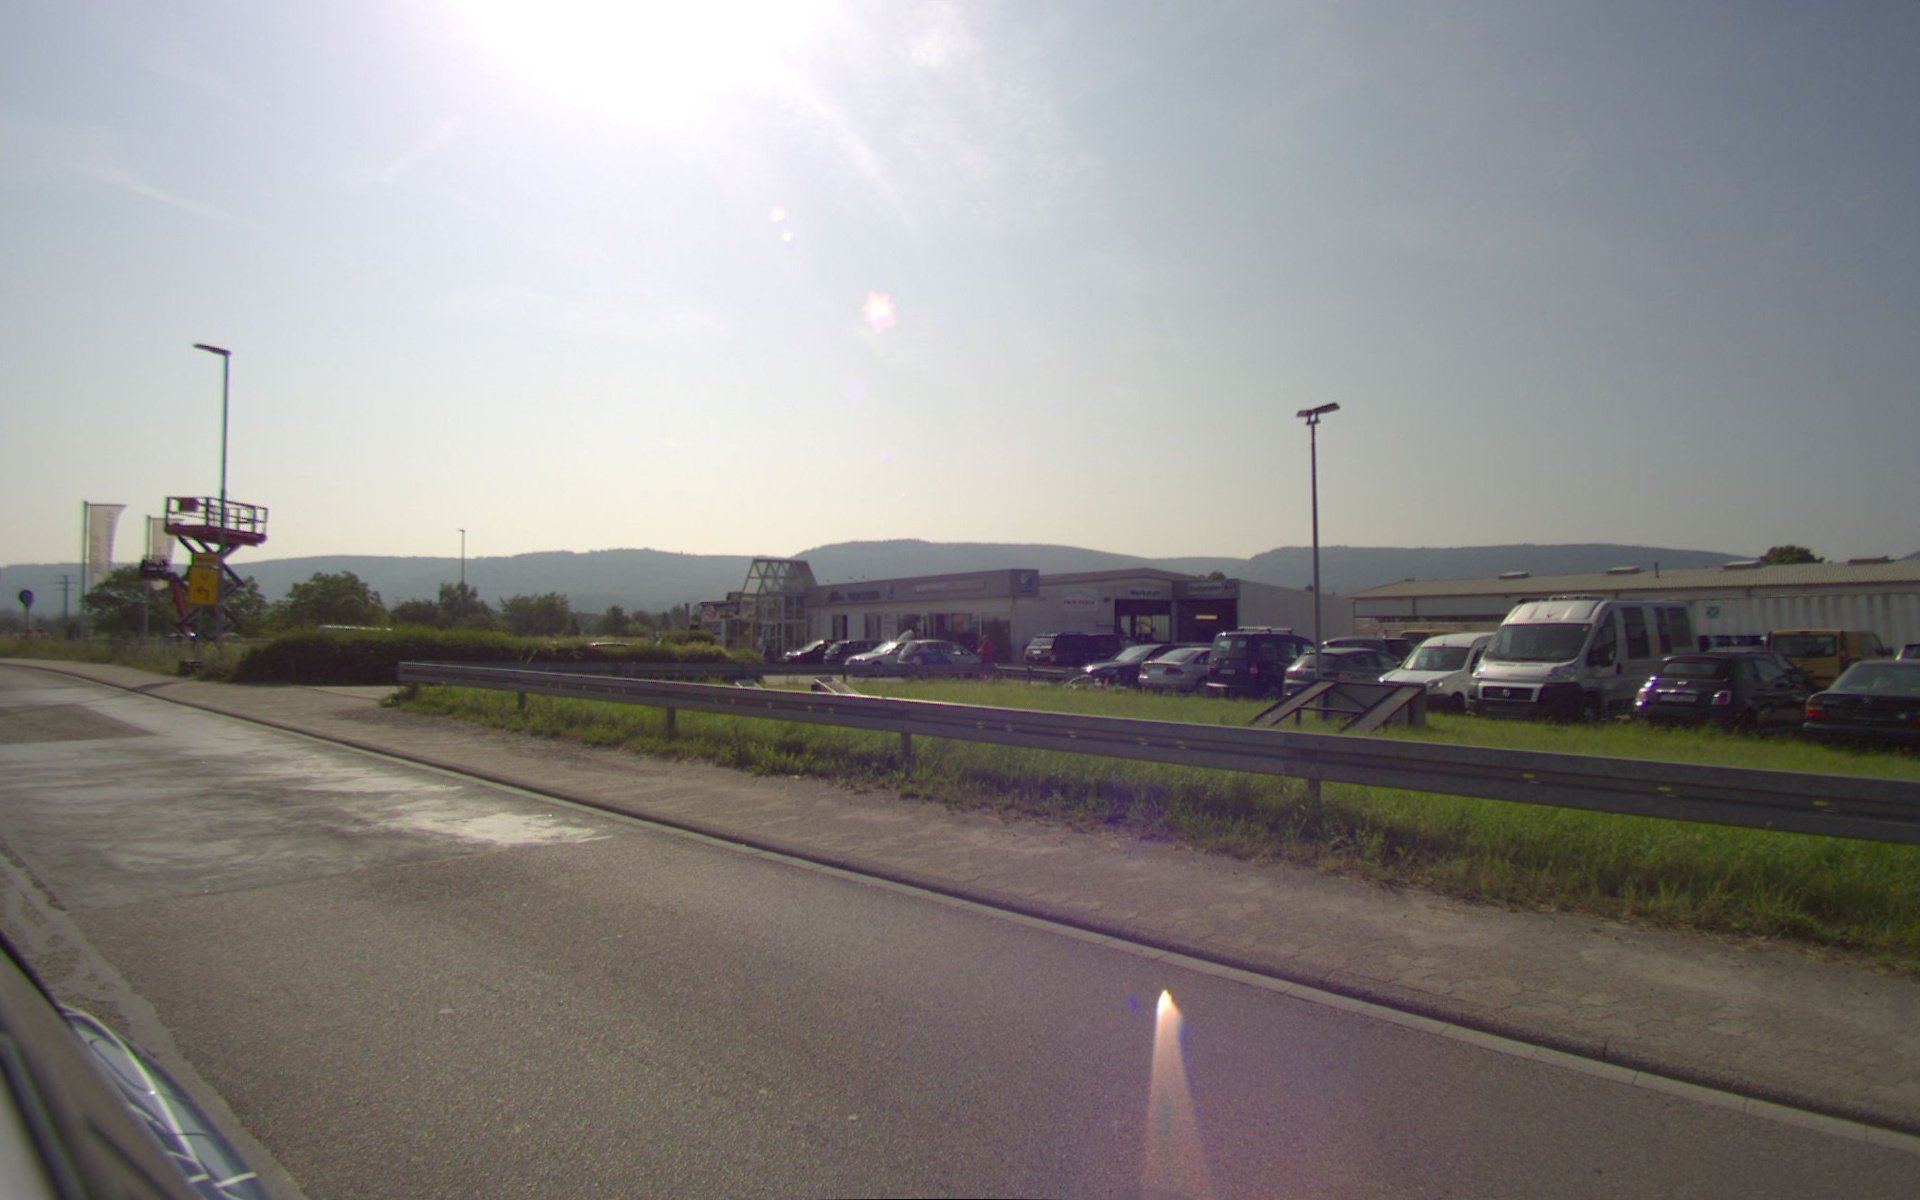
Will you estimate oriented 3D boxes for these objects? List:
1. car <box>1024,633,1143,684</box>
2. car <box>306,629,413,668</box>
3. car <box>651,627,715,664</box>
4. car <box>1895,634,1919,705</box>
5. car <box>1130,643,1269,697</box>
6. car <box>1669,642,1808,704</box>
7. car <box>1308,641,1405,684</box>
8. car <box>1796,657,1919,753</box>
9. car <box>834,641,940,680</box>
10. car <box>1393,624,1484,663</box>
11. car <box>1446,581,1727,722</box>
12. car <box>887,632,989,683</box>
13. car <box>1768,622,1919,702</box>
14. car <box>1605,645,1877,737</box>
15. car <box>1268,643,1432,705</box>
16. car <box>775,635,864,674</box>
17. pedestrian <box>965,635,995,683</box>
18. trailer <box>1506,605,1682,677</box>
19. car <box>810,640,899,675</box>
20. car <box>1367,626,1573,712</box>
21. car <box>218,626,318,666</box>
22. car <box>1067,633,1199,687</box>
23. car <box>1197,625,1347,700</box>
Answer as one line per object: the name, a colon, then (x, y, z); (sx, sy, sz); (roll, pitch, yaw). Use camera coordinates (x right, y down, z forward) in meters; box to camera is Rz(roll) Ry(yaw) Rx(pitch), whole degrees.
car: (3.973, 1.851, 32.324); (3.627, 1.533, 1.688); (3, -3, -37)
car: (-32.886, 2.658, 55.480); (4.760, 2.029, 1.995); (1, -3, 7)
car: (-15.877, 2.604, 57.904); (1.968, 2.029, 4.163); (3, -3, -40)
car: (25.982, 1.801, 25.880); (3.932, 1.763, 2.006); (3, -3, -31)
car: (6.663, 1.929, 28.107); (3.695, 1.399, 1.734); (3, -3, -35)
car: (20.097, 1.853, 26.105); (3.605, 1.475, 1.768); (3, -3, -34)
car: (14.240, 2.229, 36.295); (3.489, 1.445, 1.573); (3, -3, -35)
car: (14.237, 1.460, 14.572); (4.616, 1.228, 1.836); (2, -4, -30)
car: (-3.078, 2.562, 42.828); (4.089, 1.547, 1.887); (3, -3, -36)
car: (19.409, 1.784, 41.034); (3.605, 1.475, 1.768); (3, -3, -34)
car: (12.154, 1.027, 19.577); (5.313, 2.391, 2.300); (2, -4, -30)
car: (-0.880, 2.295, 41.006); (3.711, 1.809, 1.938); (-1, 0, -36)
car: (24.203, 1.684, 27.716); (3.932, 2.029, 2.006); (3, -3, -31)
car: (13.179, 1.480, 17.034); (4.684, 1.364, 1.927); (2, -4, -30)
car: (9.145, 1.708, 23.684); (3.695, 1.318, 1.811); (3, -3, -35)
car: (-7.028, 2.750, 50.671); (4.026, 1.887, 1.822); (2, -3, -26)
pedestrian: (0.752, 2.206, 38.003); (0.982, 1.767, 0.837); (-1, 0, 11)
trailer: (20.453, 1.364, 32.604); (5.667, 2.140, 2.224); (2, -3, -28)
car: (-4.752, 2.593, 45.664); (3.605, 1.475, 1.768); (3, -3, -34)
car: (10.953, 1.474, 21.691); (4.328, 1.676, 1.812); (2, -4, -30)
car: (-35.807, 2.380, 52.429); (4.049, 1.952, 1.812); (1, -3, 7)
car: (5.215, 1.787, 30.279); (3.935, 1.533, 1.688); (3, -3, -37)
car: (8.012, 1.586, 25.899); (3.695, 1.764, 1.753); (3, -3, -35)
